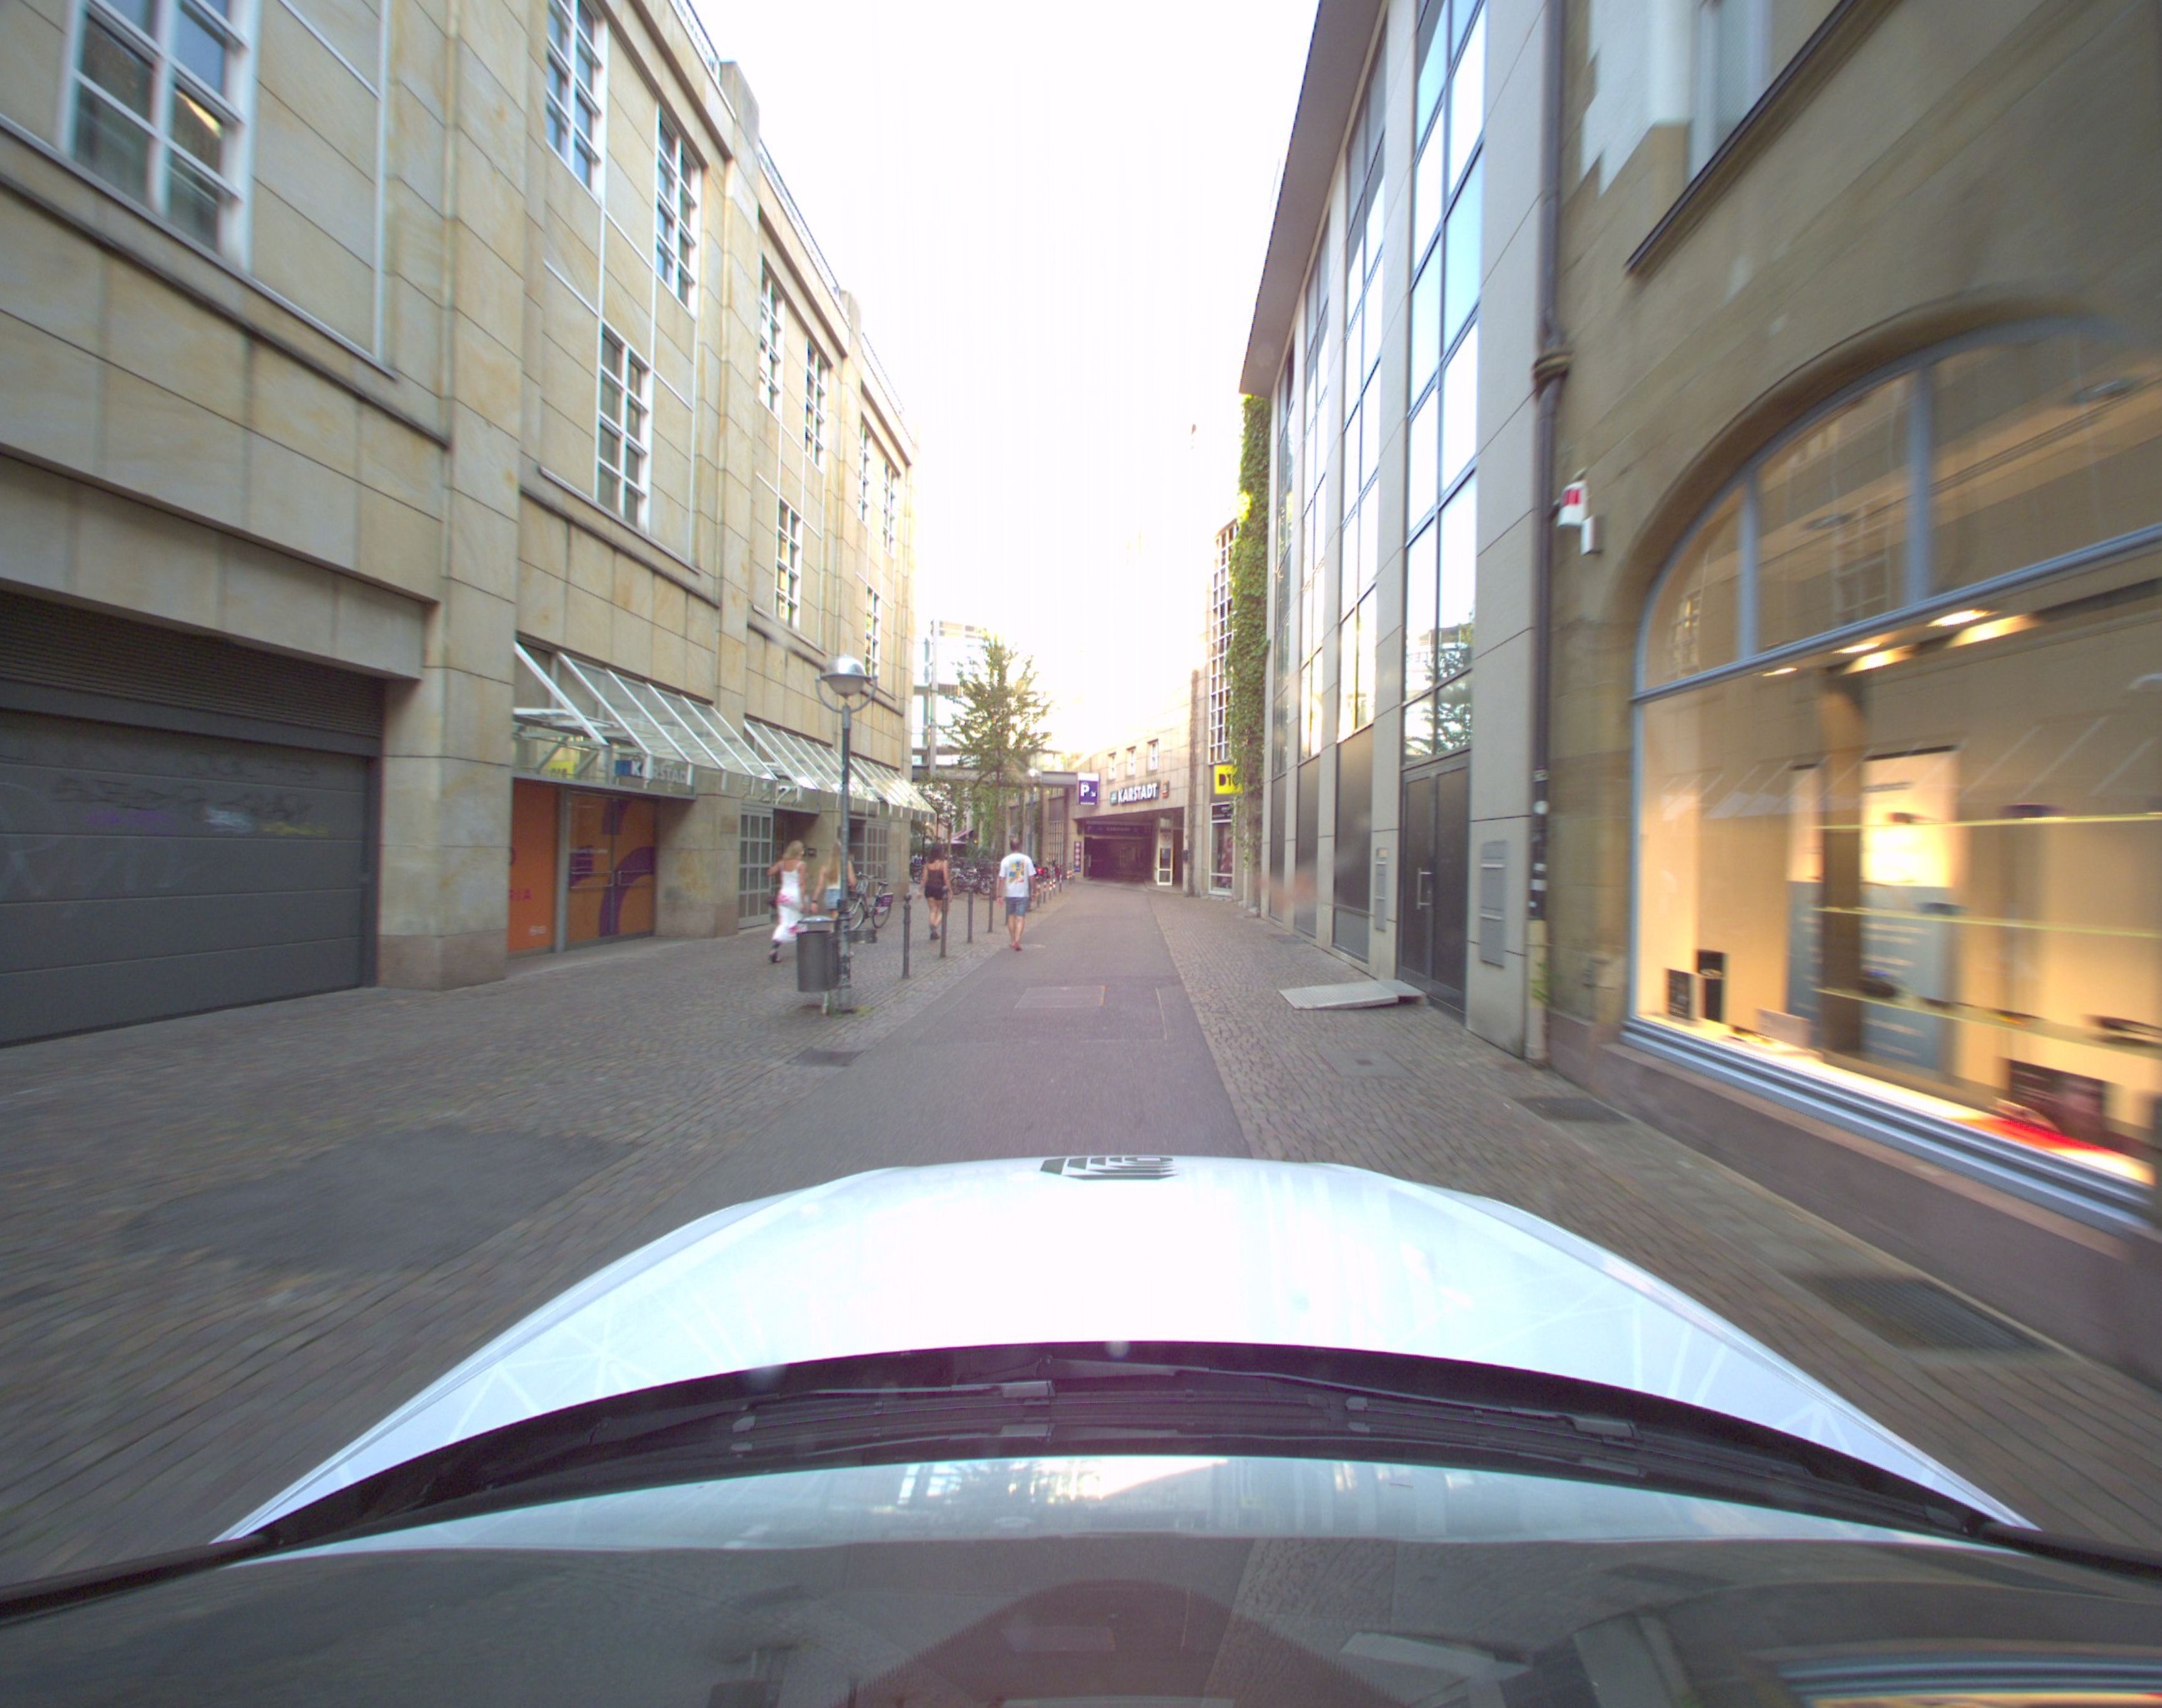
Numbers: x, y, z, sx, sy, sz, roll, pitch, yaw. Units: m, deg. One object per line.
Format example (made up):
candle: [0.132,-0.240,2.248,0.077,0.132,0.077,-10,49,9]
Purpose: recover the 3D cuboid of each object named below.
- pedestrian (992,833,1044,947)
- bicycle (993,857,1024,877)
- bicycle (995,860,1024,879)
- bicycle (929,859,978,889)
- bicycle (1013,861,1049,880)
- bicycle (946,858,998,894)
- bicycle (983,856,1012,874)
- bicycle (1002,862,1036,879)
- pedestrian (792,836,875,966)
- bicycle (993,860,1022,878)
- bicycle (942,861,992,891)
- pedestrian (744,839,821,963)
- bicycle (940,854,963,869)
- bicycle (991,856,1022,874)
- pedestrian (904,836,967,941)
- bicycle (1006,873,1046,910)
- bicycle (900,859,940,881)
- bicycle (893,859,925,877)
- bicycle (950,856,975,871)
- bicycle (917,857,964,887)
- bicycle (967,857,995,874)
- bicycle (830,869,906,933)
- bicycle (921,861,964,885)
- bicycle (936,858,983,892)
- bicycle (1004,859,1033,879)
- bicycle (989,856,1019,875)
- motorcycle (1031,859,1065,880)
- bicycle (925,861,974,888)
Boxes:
pedestrian: [-1.032,0.576,13.546,0.739,1.822,0.879,0,0,2]
bicycle: [-4.287,0.767,48.254,1.778,1.114,0.539,0,0,-18]
bicycle: [-4.008,0.840,45.670,1.543,1.049,0.572,0,0,-18]
bicycle: [-5.049,0.790,32.251,1.878,1.177,0.530,0,0,-20]
bicycle: [-2.628,0.850,42.817,1.853,0.982,0.461,0,0,-18]
bicycle: [-3.877,0.776,29.079,1.772,1.230,0.530,0,0,-20]
bicycle: [-5.292,0.698,51.602,1.778,1.114,0.539,0,0,-18]
bicycle: [-3.327,0.888,43.715,1.778,0.904,0.461,0,0,-18]
pedestrian: [-3.434,0.628,11.377,0.803,1.729,0.949,1,0,3]
bicycle: [-4.245,0.859,47.077,1.543,1.049,0.572,0,0,-18]
bicycle: [-4.369,0.832,31.270,1.842,1.122,0.530,0,0,-20]
pedestrian: [-4.171,0.631,11.423,0.671,1.664,0.862,1,0,5]
bicycle: [-10.323,0.636,65.028,1.778,1.190,0.583,0,0,-18]
bicycle: [-4.498,0.666,49.337,1.778,1.114,0.539,1,0,-18]
pedestrian: [-2.584,0.593,14.580,0.780,1.795,0.975,0,0,12]
bicycle: [-1.495,1.027,22.535,0.489,0.939,1.667,2,0,18]
bicycle: [-7.708,0.774,39.103,1.831,1.043,0.530,0,0,-20]
bicycle: [-10.065,0.835,47.753,1.785,1.019,0.478,0,0,-20]
bicycle: [-8.707,0.689,59.799,1.776,1.114,0.540,0,0,-15]
bicycle: [-5.785,0.731,33.483,1.839,1.225,0.530,0,0,-20]
bicycle: [-6.623,0.756,53.910,1.778,1.114,0.539,0,0,-18]
bicycle: [-4.098,0.879,15.810,0.517,1.138,1.773,0,0,19]
bicycle: [-6.354,0.865,37.293,1.883,1.043,0.530,0,0,-20]
bicycle: [-4.527,0.772,30.383,1.659,1.230,0.530,0,0,-20]
bicycle: [-3.426,0.823,44.670,1.543,1.049,0.572,0,0,-18]
bicycle: [-4.800,0.718,50.551,1.778,1.114,0.539,0,0,-18]
motorcycle: [-1.686,0.800,41.211,1.667,1.050,0.461,0,0,-18]
bicycle: [-5.302,0.820,32.791,1.900,1.052,0.530,0,0,-20]
